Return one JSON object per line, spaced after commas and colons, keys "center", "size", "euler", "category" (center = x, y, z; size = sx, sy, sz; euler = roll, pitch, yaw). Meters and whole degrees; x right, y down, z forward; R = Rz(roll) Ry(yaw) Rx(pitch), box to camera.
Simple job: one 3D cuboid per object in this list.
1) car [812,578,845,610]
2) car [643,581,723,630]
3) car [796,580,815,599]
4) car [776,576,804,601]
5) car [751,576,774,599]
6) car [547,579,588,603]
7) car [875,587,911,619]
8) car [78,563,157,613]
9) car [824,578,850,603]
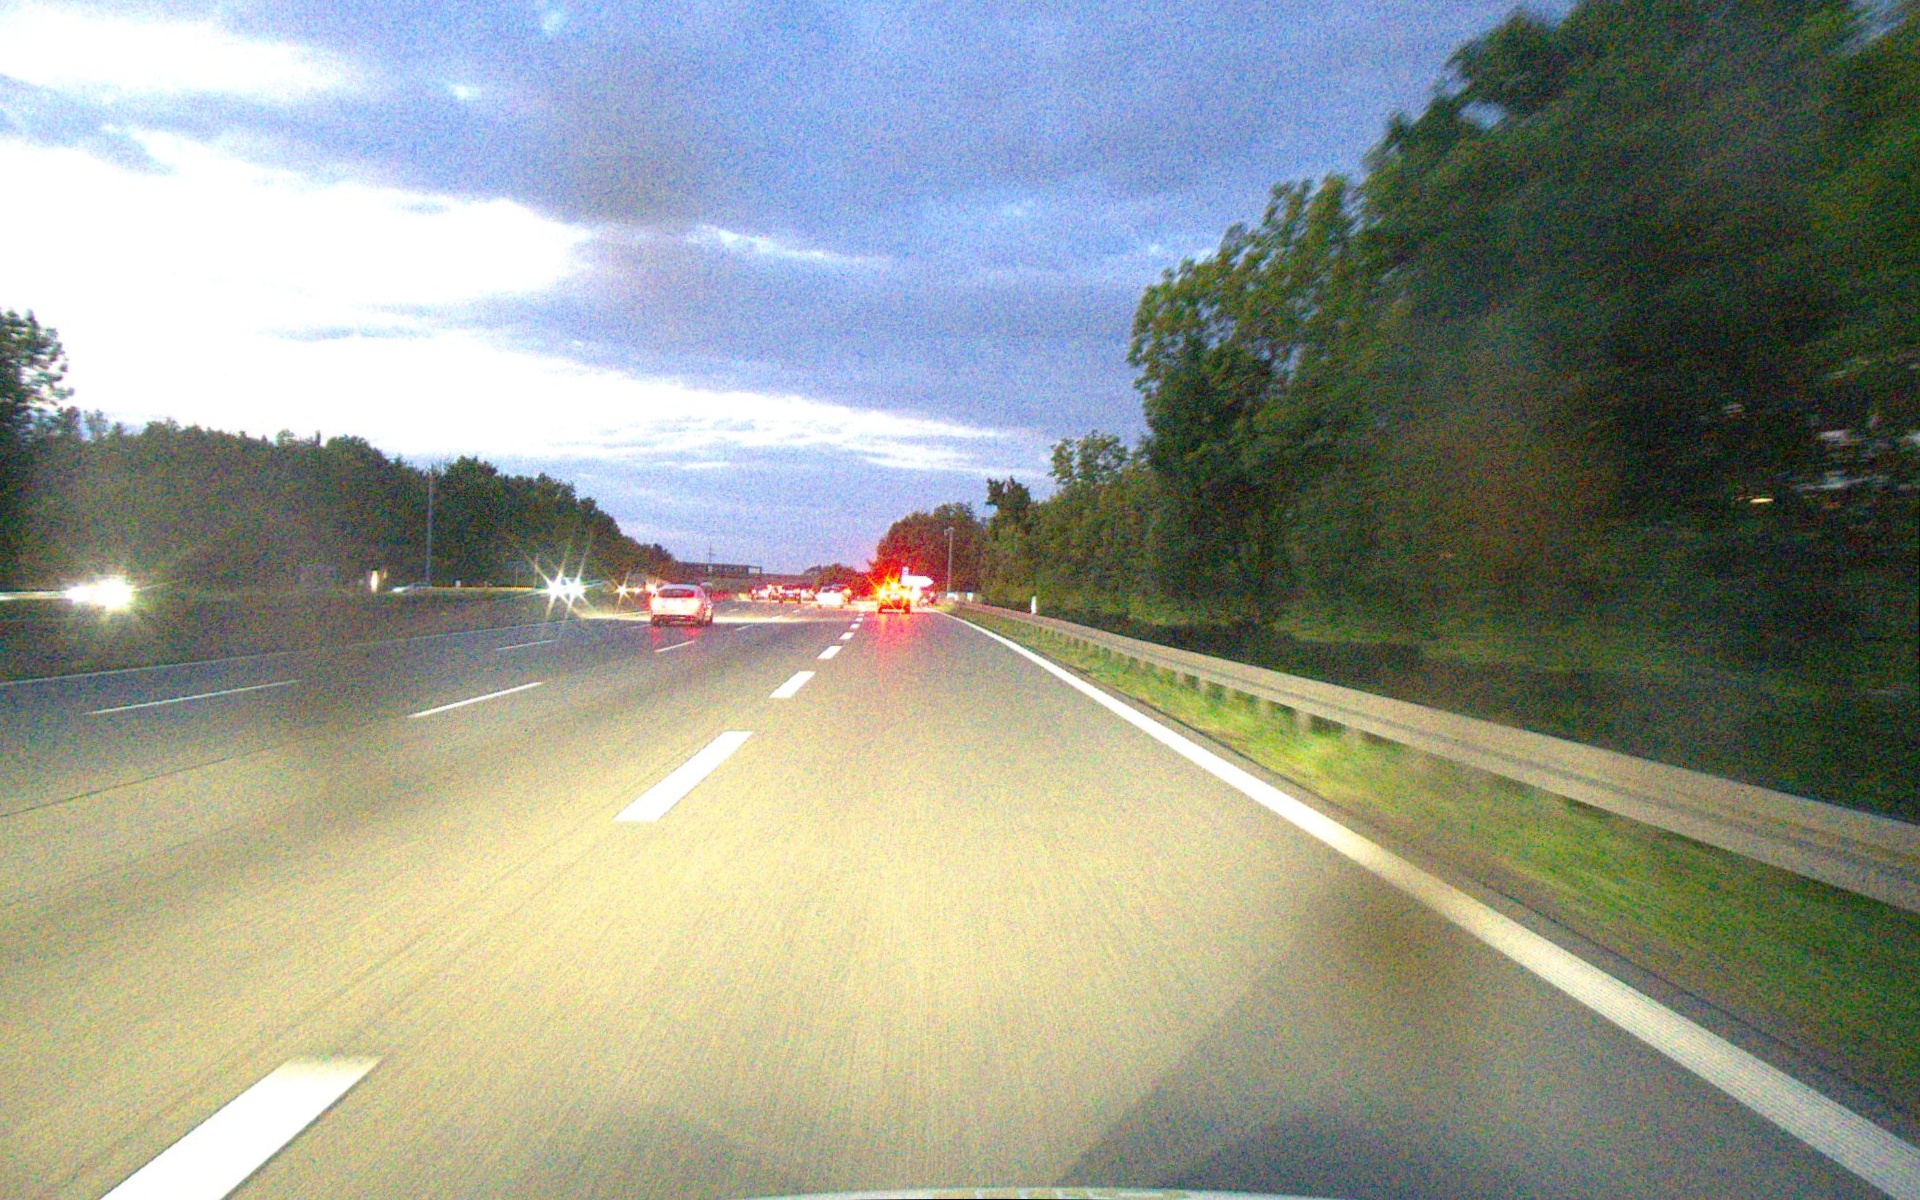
{"center": [-8.583, -0.386, 107.885], "size": [1.953, 2.049, 3.998], "euler": [1, 0, -2], "category": "car"}
{"center": [-9.749, 0.168, 58.536], "size": [1.952, 1.671, 4.555], "euler": [0, 0, 1], "category": "car"}
{"center": [-16.870, -1.170, 180.480], "size": [1.956, 2.049, 3.993], "euler": [1, 0, -8], "category": "car"}
{"center": [-14.112, -0.966, 137.446], "size": [2.029, 2.049, 3.999], "euler": [0, 0, -1], "category": "car"}
{"center": [-18.618, -1.184, 156.129], "size": [2.064, 2.049, 3.996], "euler": [0, 0, -5], "category": "car"}
{"center": [-28.287, -0.673, 119.387], "size": [1.953, 1.693, 5.008], "euler": [1, 0, -2], "category": "car"}
{"center": [-3.793, 0.153, 92.993], "size": [1.954, 1.688, 4.312], "euler": [1, 0, -4], "category": "car"}
{"center": [-36.080, -0.496, 70.987], "size": [1.960, 2.049, 4.991], "euler": [1, 0, -15], "category": "car"}
{"center": [-10.039, -0.787, 135.482], "size": [1.953, 2.049, 3.999], "euler": [0, 0, -2], "category": "car"}
